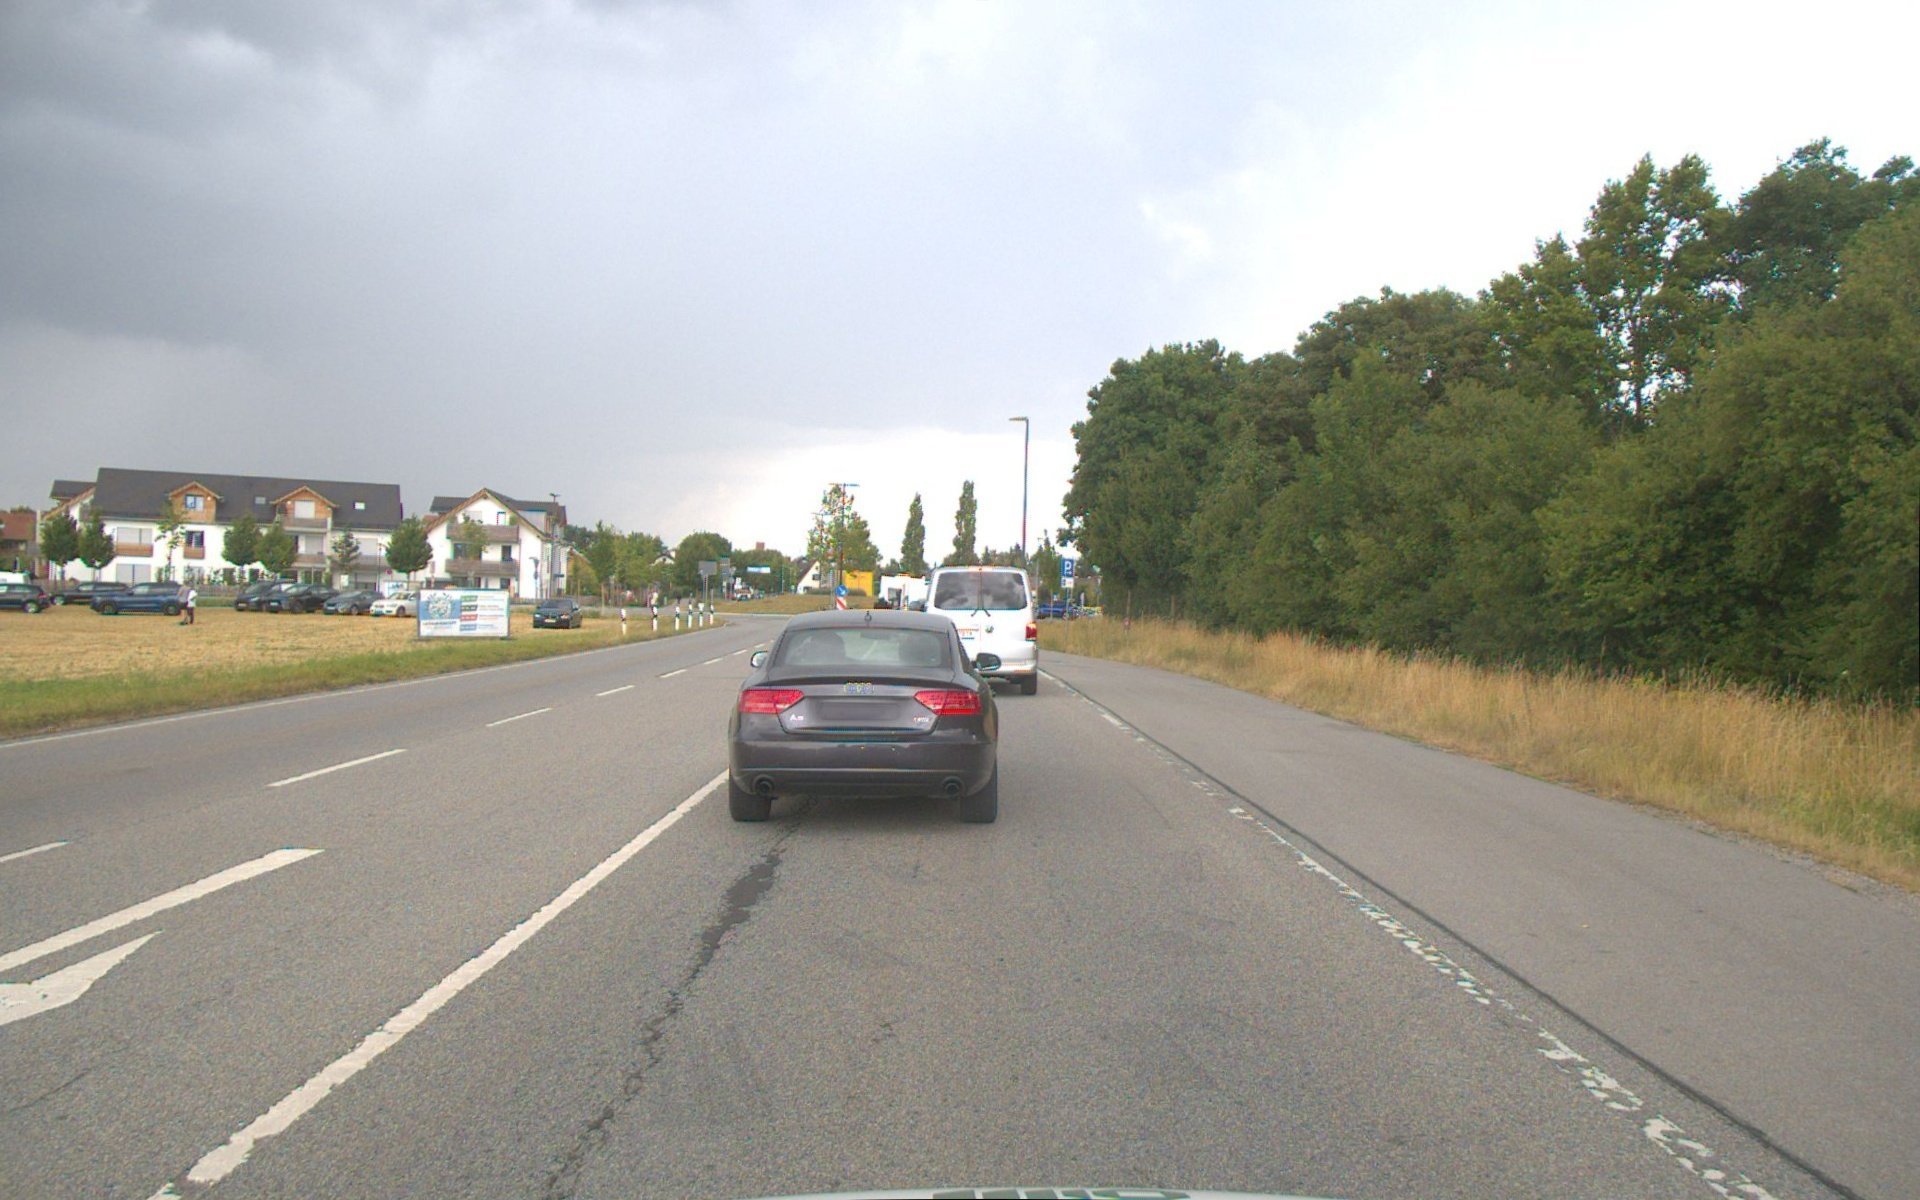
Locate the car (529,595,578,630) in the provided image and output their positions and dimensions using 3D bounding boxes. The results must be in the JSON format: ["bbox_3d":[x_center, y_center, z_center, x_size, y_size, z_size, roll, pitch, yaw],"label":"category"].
[{"bbox_3d":[-19.067,0.575,77.671,1.958,1.467,3.990,1,1,-11],"label":"car"}]

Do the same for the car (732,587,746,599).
[{"bbox_3d":[-33.869,-1.042,253.518,1.954,1.670,3.996,2,0,-4],"label":"car"}]

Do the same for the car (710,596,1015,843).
[{"bbox_3d":[-0.601,0.724,12.157,1.836,1.479,4.176,1,0,0],"label":"car"}]

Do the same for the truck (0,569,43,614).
[{"bbox_3d":[-49.870,-0.497,83.908,5.489,2.235,2.589,1,0,-23],"label":"truck"}]

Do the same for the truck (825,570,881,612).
[{"bbox_3d":[-10.037,-0.860,153.854,3.515,3.640,9.924,2,0,-13],"label":"truck"}]

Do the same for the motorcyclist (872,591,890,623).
[{"bbox_3d":[-3.558,0.310,74.448,0.770,1.380,0.853,1,0,-3],"label":"motorcyclist"}]

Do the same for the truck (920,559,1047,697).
[{"bbox_3d":[0.364,0.420,27.204,1.865,2.033,4.628,1,0,0],"label":"truck"}]

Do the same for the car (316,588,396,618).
[{"bbox_3d":[-33.108,0.152,90.755,1.952,1.562,4.213,1,0,18],"label":"car"}]

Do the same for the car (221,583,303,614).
[{"bbox_3d":[-39.308,-0.091,93.204,1.952,1.657,4.213,1,0,18],"label":"car"}]

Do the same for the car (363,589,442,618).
[{"bbox_3d":[-30.398,0.191,90.357,1.952,1.471,4.213,1,0,18],"label":"car"}]

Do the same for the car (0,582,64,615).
[{"bbox_3d":[-46.421,-0.074,81.090,4.095,1.545,1.988,1,0,-21],"label":"car"}]

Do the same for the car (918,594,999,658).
[{"bbox_3d":[-0.061,0.642,42.226,1.953,1.511,3.999,1,0,-1],"label":"car"}]

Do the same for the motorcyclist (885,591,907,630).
[{"bbox_3d":[-2.338,0.394,60.609,0.756,1.407,0.820,2,0,0],"label":"motorcyclist"}]

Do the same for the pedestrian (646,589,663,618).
[{"bbox_3d":[-17.425,0.216,94.243,0.686,1.613,0.658,1,0,17],"label":"pedestrian"}]

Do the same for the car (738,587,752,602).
[{"bbox_3d":[-32.002,-0.811,245.749,1.956,2.049,3.994,2,0,-7],"label":"car"}]

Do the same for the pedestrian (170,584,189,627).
[{"bbox_3d":[-33.425,0.224,70.860,0.538,1.817,0.676,1,0,-12],"label":"pedestrian"}]

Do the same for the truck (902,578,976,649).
[{"bbox_3d":[-0.613,0.398,51.149,2.149,2.049,5.084,1,0,0],"label":"truck"}]

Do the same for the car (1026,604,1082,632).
[{"bbox_3d":[7.318,1.403,128.637,3.905,2.049,2.000,2,0,20],"label":"car"}]

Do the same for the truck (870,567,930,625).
[{"bbox_3d":[-3.137,-0.188,85.409,2.576,2.785,5.858,2,0,-7],"label":"truck"}]

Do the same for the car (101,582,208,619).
[{"bbox_3d":[-40.607,0.015,83.494,4.647,1.727,1.988,1,0,-21],"label":"car"}]

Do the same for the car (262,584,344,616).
[{"bbox_3d":[-36.204,0.002,91.194,1.952,1.657,4.213,1,0,18],"label":"car"}]

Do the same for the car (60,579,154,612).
[{"bbox_3d":[-48.931,-0.251,94.958,4.558,1.727,1.988,1,0,-21],"label":"car"}]

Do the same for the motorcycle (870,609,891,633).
[{"bbox_3d":[-3.564,0.928,74.310,0.925,1.037,2.283,1,0,-3],"label":"motorcycle"}]

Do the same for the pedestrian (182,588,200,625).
[{"bbox_3d":[-33.364,0.296,71.746,0.580,1.583,0.622,1,0,-19],"label":"pedestrian"}]

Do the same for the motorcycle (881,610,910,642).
[{"bbox_3d":[-2.346,0.941,60.680,0.901,1.113,2.189,2,0,1],"label":"motorcycle"}]
